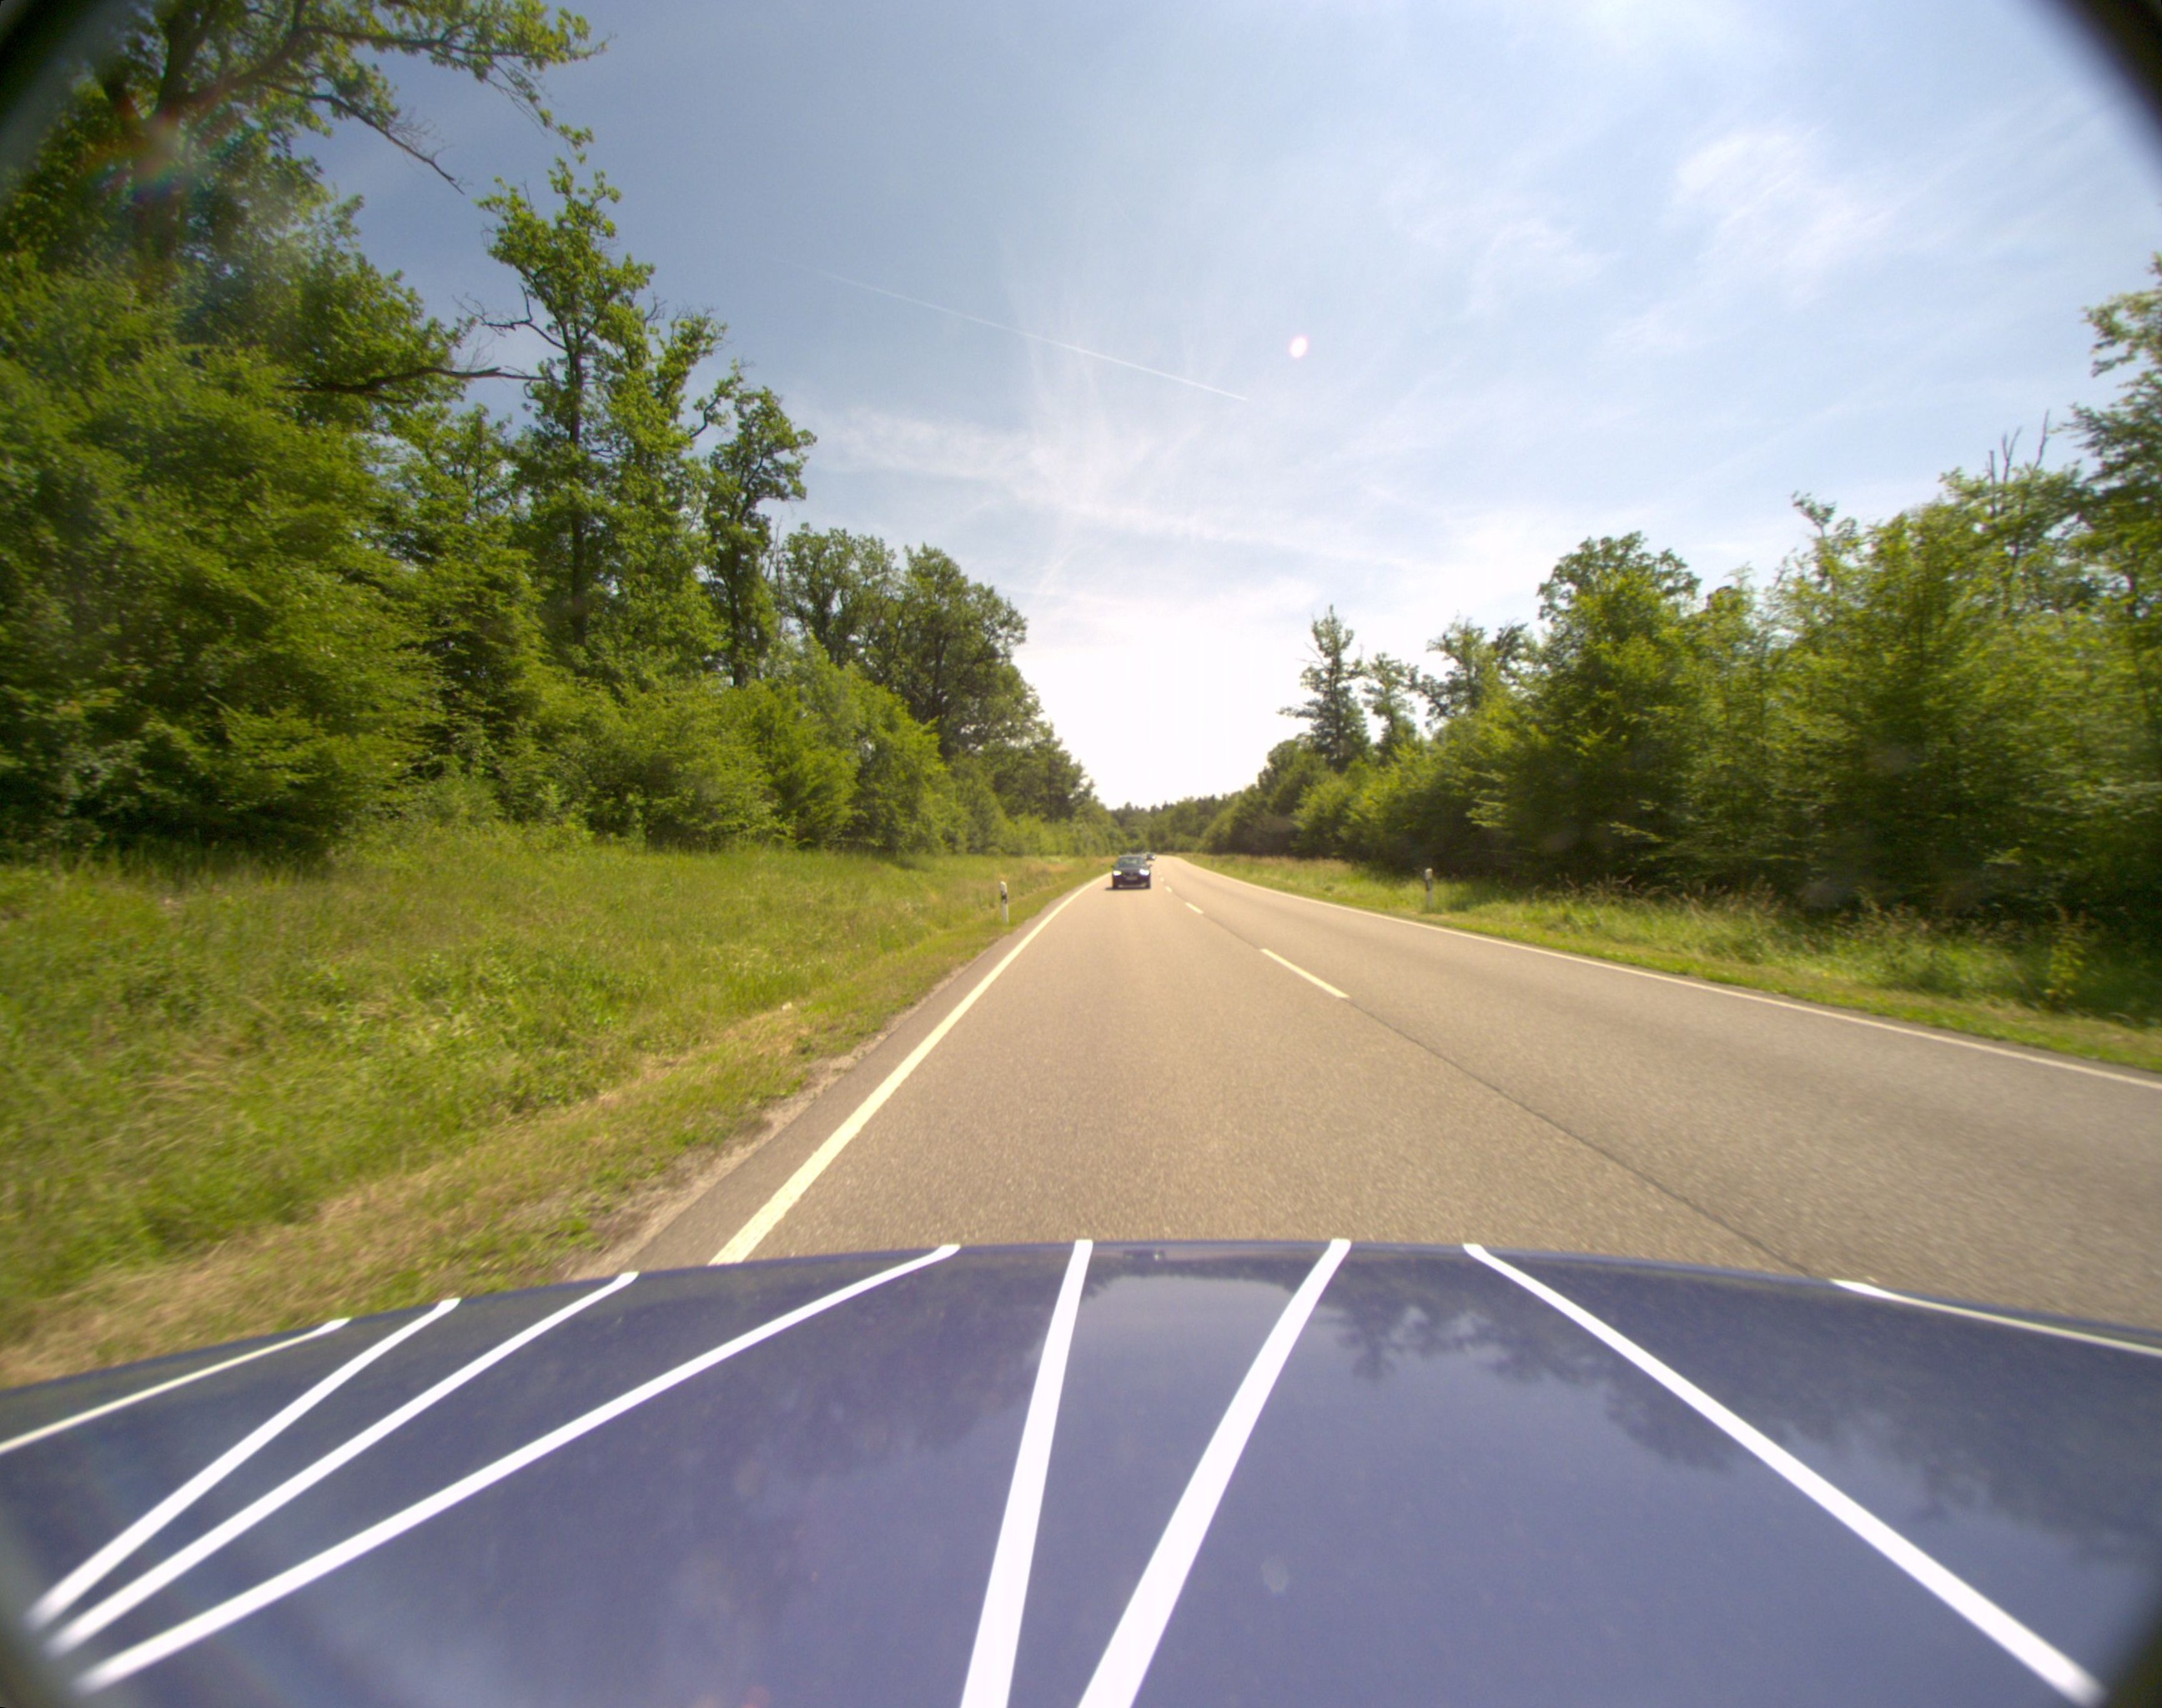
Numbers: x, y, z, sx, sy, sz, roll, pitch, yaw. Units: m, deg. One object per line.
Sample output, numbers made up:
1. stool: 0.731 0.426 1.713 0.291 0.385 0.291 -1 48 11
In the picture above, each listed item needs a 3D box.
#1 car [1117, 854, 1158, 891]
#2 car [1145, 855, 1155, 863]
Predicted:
1. car: 2.636 0.833 35.372 1.713 1.516 4.243 -2 0 4
2. car: 12.480 0.932 137.539 1.775 1.454 3.949 -1 0 4
